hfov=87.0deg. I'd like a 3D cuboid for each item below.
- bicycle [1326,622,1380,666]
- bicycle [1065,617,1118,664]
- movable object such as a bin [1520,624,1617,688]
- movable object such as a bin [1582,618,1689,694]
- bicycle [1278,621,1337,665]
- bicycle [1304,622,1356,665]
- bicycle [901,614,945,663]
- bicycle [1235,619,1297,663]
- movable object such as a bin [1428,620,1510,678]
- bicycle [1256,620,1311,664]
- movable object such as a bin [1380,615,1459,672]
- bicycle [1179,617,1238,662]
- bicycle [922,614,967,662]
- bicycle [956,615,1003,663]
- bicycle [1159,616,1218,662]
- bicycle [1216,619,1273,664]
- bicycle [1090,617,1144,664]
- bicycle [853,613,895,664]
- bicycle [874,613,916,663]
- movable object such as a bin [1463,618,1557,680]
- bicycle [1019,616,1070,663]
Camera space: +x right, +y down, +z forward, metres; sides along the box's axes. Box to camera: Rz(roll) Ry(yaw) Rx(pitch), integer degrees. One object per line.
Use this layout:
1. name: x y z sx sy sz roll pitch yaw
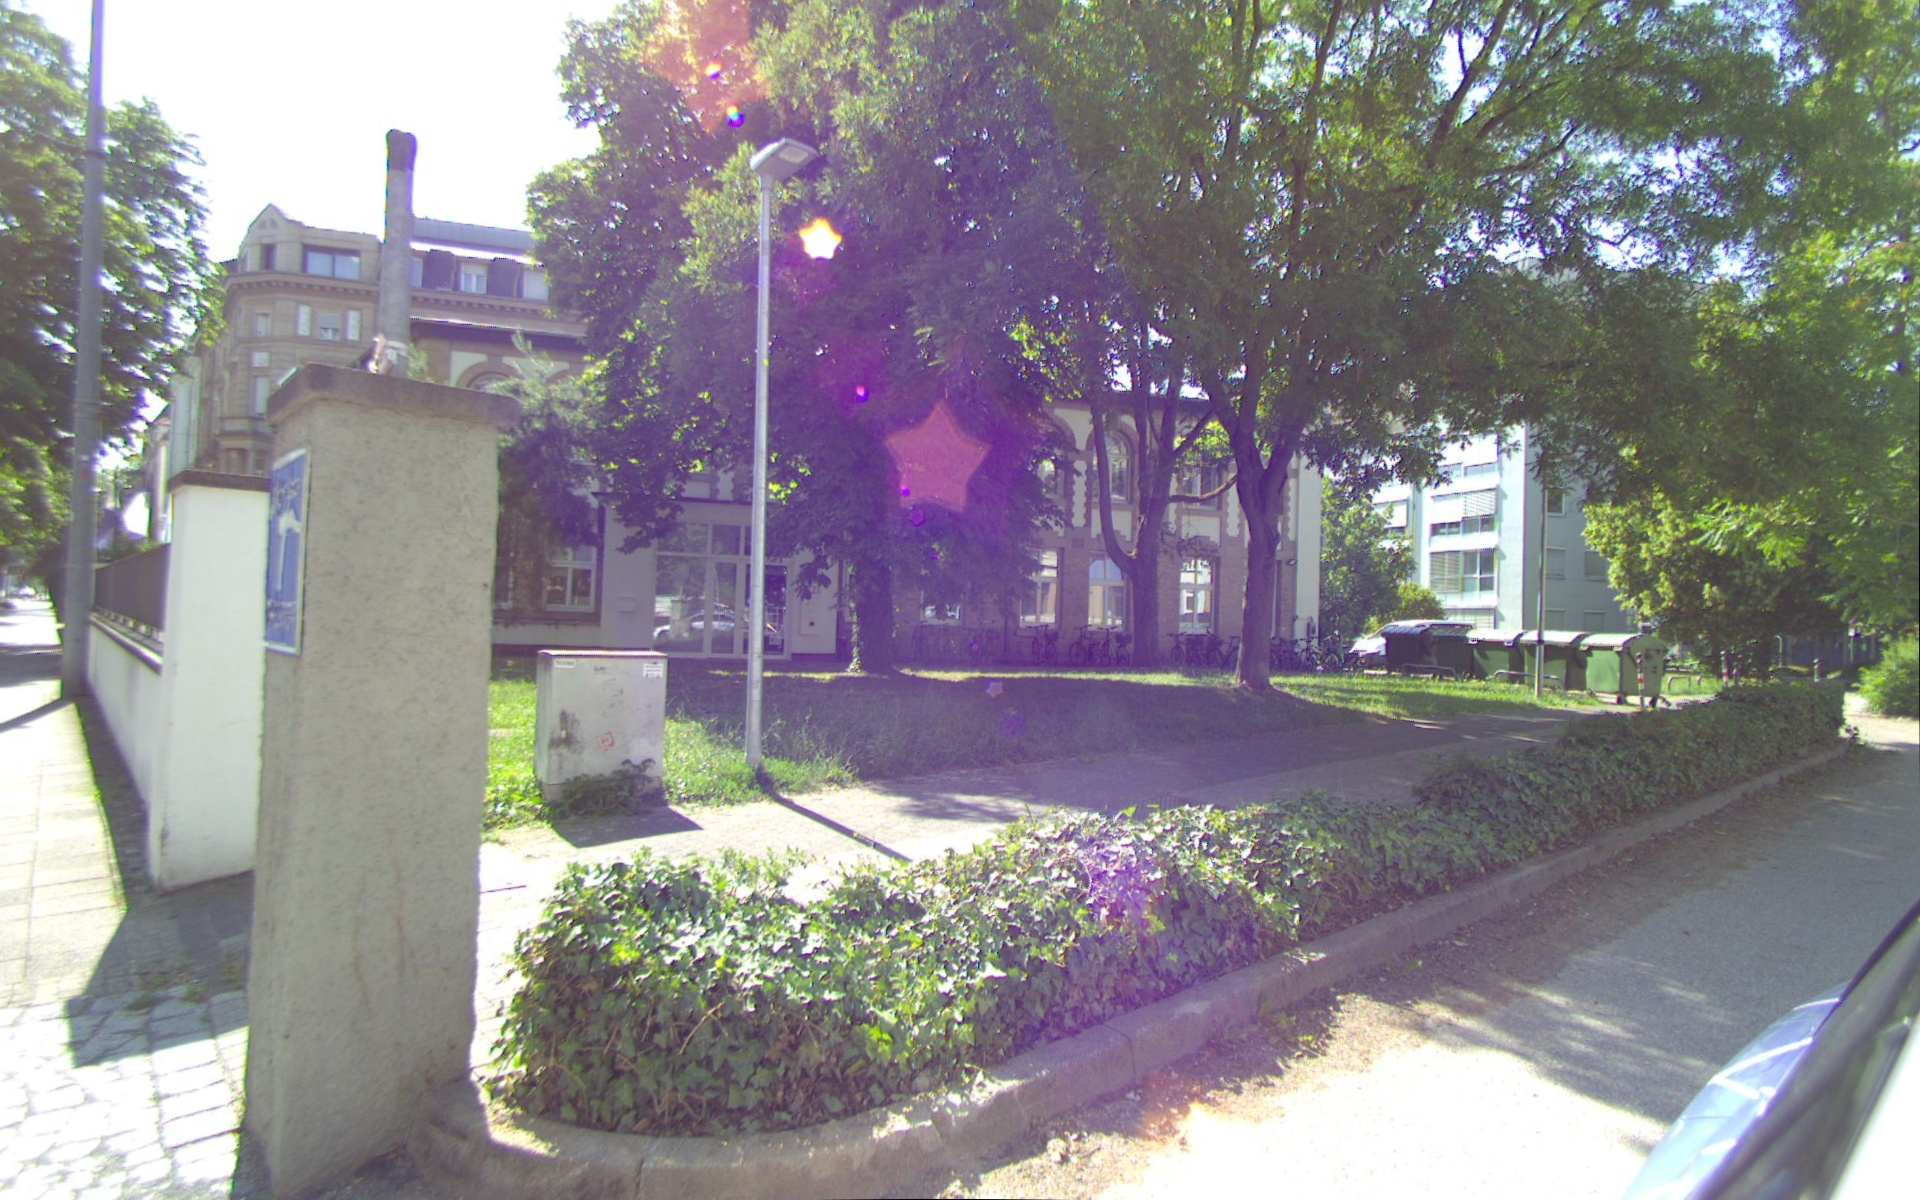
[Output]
1. bicycle: 11.219 1.238 28.961 0.546 1.176 1.947 1 -1 -7
2. bicycle: 3.501 1.058 27.107 0.575 1.176 2.107 2 -1 -17
3. movable object such as a bin: 13.290 1.214 22.139 1.190 1.317 1.358 2 -1 -20
4. movable object such as a bin: 13.782 1.119 20.709 1.191 1.481 1.393 1 -1 -5
5. bicycle: 9.941 1.206 28.996 0.600 1.176 1.855 2 -1 -17
6. bicycle: 10.592 1.234 29.031 0.496 1.176 1.808 2 -1 -12
7. bicycle: -0.962 0.948 25.822 0.575 1.176 2.107 2 -1 -17
8. bicycle: 8.606 1.137 28.560 0.575 1.176 2.107 2 -1 -17
9. movable object such as a bin: 12.592 1.189 25.068 1.190 1.366 1.355 2 -1 -20
10. bicycle: 9.149 1.164 28.703 0.484 1.176 1.918 2 -1 -17
11. movable object such as a bin: 12.037 1.123 26.544 1.224 1.427 1.439 2 -1 -21
12. bicycle: 6.870 1.065 28.074 0.575 1.176 2.107 2 -1 -17
13. bicycle: -0.415 0.953 26.118 0.575 1.176 2.107 2 -1 -17
14. bicycle: 0.476 0.984 26.321 0.575 1.176 2.107 2 -1 -17
15. bicycle: 6.259 1.051 27.831 0.575 1.176 2.107 2 -1 -17
16. bicycle: 7.925 1.140 28.279 0.575 1.176 1.925 2 -1 -17
17. bicycle: 4.216 1.071 27.361 0.575 1.176 2.107 2 -1 -17
18. bicycle: -2.145 0.931 25.006 0.575 1.176 2.107 2 -1 -17
19. bicycle: -1.658 0.935 25.616 0.575 1.176 2.107 2 -1 -17
20. movable object such as a bin: 12.763 1.122 23.539 1.190 1.379 1.505 2 -1 -20
21. bicycle: 2.213 1.017 26.758 0.575 1.176 2.107 2 -1 -17
